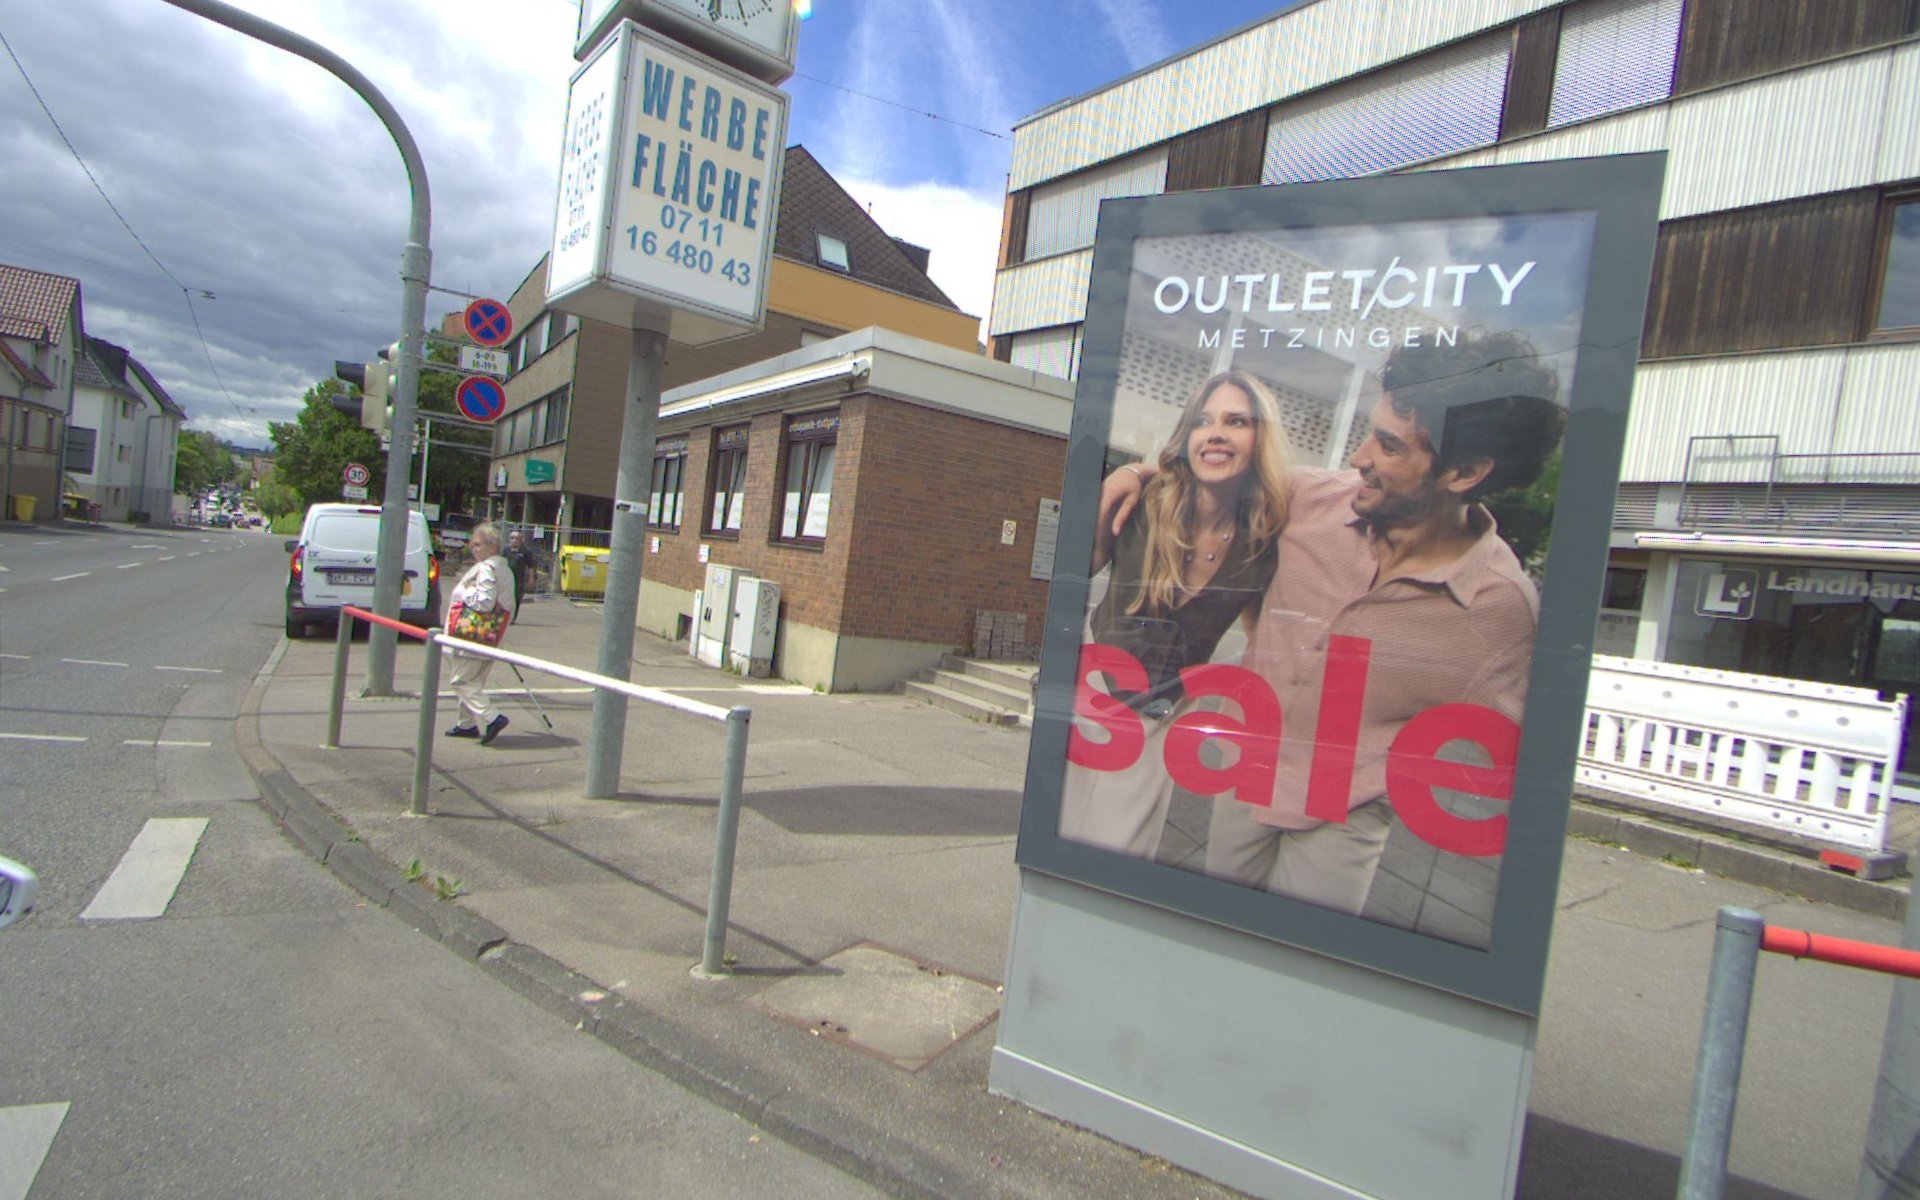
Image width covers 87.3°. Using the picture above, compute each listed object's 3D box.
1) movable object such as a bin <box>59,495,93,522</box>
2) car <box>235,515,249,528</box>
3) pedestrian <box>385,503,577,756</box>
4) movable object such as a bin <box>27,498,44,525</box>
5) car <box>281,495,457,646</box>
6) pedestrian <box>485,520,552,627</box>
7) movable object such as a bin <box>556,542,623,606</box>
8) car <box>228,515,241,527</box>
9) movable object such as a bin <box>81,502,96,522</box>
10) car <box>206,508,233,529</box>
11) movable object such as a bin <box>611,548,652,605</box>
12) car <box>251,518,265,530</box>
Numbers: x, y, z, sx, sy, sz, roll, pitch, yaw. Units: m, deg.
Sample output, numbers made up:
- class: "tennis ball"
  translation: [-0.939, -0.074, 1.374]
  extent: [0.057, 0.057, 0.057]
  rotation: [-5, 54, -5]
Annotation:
- class: "movable object such as a bin"
  translation: [-49.865, -5.150, 56.766]
  extent: [1.274, 1.326, 0.808]
  rotation: [6, 1, -38]
- class: "car"
  translation: [-131.992, -14.414, 184.881]
  extent: [1.982, 2.039, 3.961]
  rotation: [5, 0, -36]
- class: "pedestrian"
  translation: [-3.442, 0.194, 7.255]
  extent: [0.859, 1.659, 0.834]
  rotation: [6, 2, 30]
- class: "movable object such as a bin"
  translation: [-40.493, -3.865, 44.073]
  extent: [0.428, 1.142, 0.296]
  rotation: [5, 2, -34]
- class: "car"
  translation: [-8.742, -0.479, 14.914]
  extent: [1.895, 1.818, 4.453]
  rotation: [3, 2, -31]
- class: "pedestrian"
  translation: [-8.063, -0.479, 18.369]
  extent: [0.837, 1.825, 0.645]
  rotation: [7, 1, -33]
- class: "movable object such as a bin"
  translation: [-10.238, -0.720, 27.762]
  extent: [1.470, 1.512, 1.067]
  rotation: [6, 3, -29]
- class: "car"
  translation: [-138.734, -15.061, 192.346]
  extent: [1.982, 2.039, 3.961]
  rotation: [5, 0, -36]
- class: "movable object such as a bin"
  translation: [-50.081, -5.042, 57.821]
  extent: [0.528, 1.043, 0.451]
  rotation: [6, 1, -34]
- class: "car"
  translation: [-83.606, -9.257, 113.560]
  extent: [1.986, 2.039, 3.953]
  rotation: [6, 0, -41]
- class: "movable object such as a bin"
  translation: [-9.264, -0.671, 28.349]
  extent: [0.773, 1.459, 1.009]
  rotation: [5, 4, -29]
- class: "car"
  translation: [-139.002, -15.051, 199.140]
  extent: [1.982, 2.039, 3.961]
  rotation: [5, 0, -36]
